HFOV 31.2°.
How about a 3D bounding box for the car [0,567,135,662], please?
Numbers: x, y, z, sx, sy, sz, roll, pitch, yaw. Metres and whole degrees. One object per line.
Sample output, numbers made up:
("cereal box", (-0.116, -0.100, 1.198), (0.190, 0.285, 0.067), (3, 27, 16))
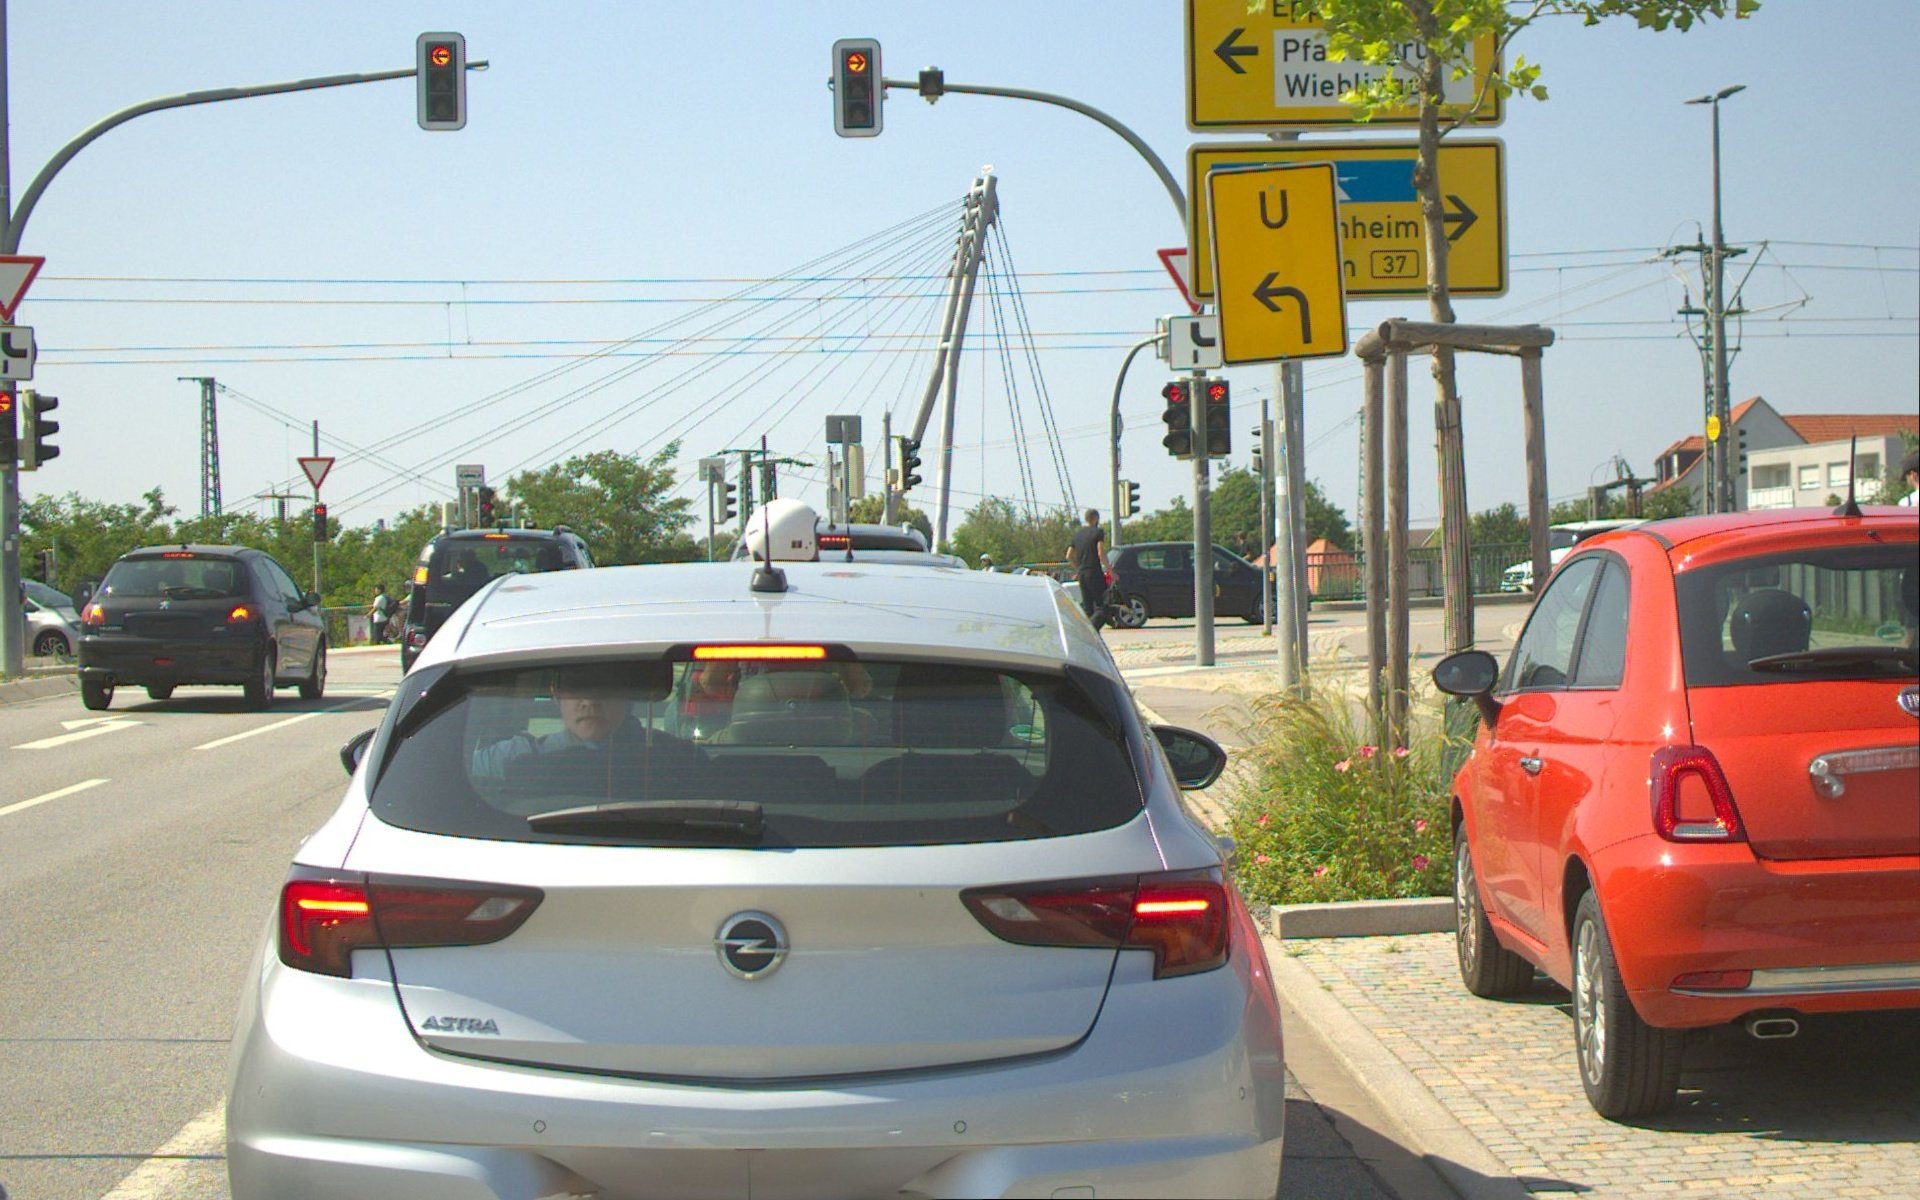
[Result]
("car", (-16.815, 0.232, 60.904), (3.818, 1.623, 1.856), (1, 0, 13))

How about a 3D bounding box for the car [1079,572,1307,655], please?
("car", (4.067, 0.233, 60.376), (3.774, 1.385, 1.666), (1, 0, -5))

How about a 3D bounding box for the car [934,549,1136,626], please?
("car", (1.658, -0.276, 76.885), (4.194, 1.639, 1.834), (1, 0, -12))

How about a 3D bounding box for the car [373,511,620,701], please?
("car", (-4.171, 0.046, 31.436), (1.803, 1.616, 3.917), (0, 0, -1))

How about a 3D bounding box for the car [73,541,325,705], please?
("car", (-6.780, 0.191, 30.918), (1.587, 1.390, 3.340), (0, 0, -1))

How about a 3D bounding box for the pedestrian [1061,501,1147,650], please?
("pedestrian", (1.815, -0.307, 43.402), (0.753, 1.857, 0.740), (1, 0, 44))

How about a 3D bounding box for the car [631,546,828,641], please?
("car", (-4.207, -0.116, 62.830), (3.506, 1.635, 1.800), (1, 0, -4))

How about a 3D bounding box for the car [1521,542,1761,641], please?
("car", (12.915, -0.154, 65.285), (3.986, 1.778, 2.001), (1, 0, -14))

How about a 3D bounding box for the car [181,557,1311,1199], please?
("car", (-0.367, 0.671, 7.301), (1.690, 1.514, 4.271), (0, 1, -1))

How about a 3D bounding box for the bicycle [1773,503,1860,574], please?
("bicycle", (14.570, -1.050, 58.449), (0.555, 1.174, 2.083), (0, 1, 40))

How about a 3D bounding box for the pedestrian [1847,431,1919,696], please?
("pedestrian", (6.753, -0.246, 24.175), (0.758, 1.823, 0.885), (1, 0, -1))

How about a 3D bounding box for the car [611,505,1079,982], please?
("car", (-0.453, 0.509, 14.141), (1.634, 1.668, 3.745), (1, 0, -1))

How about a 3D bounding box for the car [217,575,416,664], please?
("car", (-14.661, 0.432, 78.439), (3.989, 2.007, 1.999), (0, 0, 13))

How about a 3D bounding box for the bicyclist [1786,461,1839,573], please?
("bicyclist", (14.500, -1.416, 58.492), (0.636, 1.881, 0.594), (-1, 1, 41))

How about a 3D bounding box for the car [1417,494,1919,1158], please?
("car", (2.400, 0.480, 10.022), (1.669, 1.534, 3.916), (-2, 1, 2))
